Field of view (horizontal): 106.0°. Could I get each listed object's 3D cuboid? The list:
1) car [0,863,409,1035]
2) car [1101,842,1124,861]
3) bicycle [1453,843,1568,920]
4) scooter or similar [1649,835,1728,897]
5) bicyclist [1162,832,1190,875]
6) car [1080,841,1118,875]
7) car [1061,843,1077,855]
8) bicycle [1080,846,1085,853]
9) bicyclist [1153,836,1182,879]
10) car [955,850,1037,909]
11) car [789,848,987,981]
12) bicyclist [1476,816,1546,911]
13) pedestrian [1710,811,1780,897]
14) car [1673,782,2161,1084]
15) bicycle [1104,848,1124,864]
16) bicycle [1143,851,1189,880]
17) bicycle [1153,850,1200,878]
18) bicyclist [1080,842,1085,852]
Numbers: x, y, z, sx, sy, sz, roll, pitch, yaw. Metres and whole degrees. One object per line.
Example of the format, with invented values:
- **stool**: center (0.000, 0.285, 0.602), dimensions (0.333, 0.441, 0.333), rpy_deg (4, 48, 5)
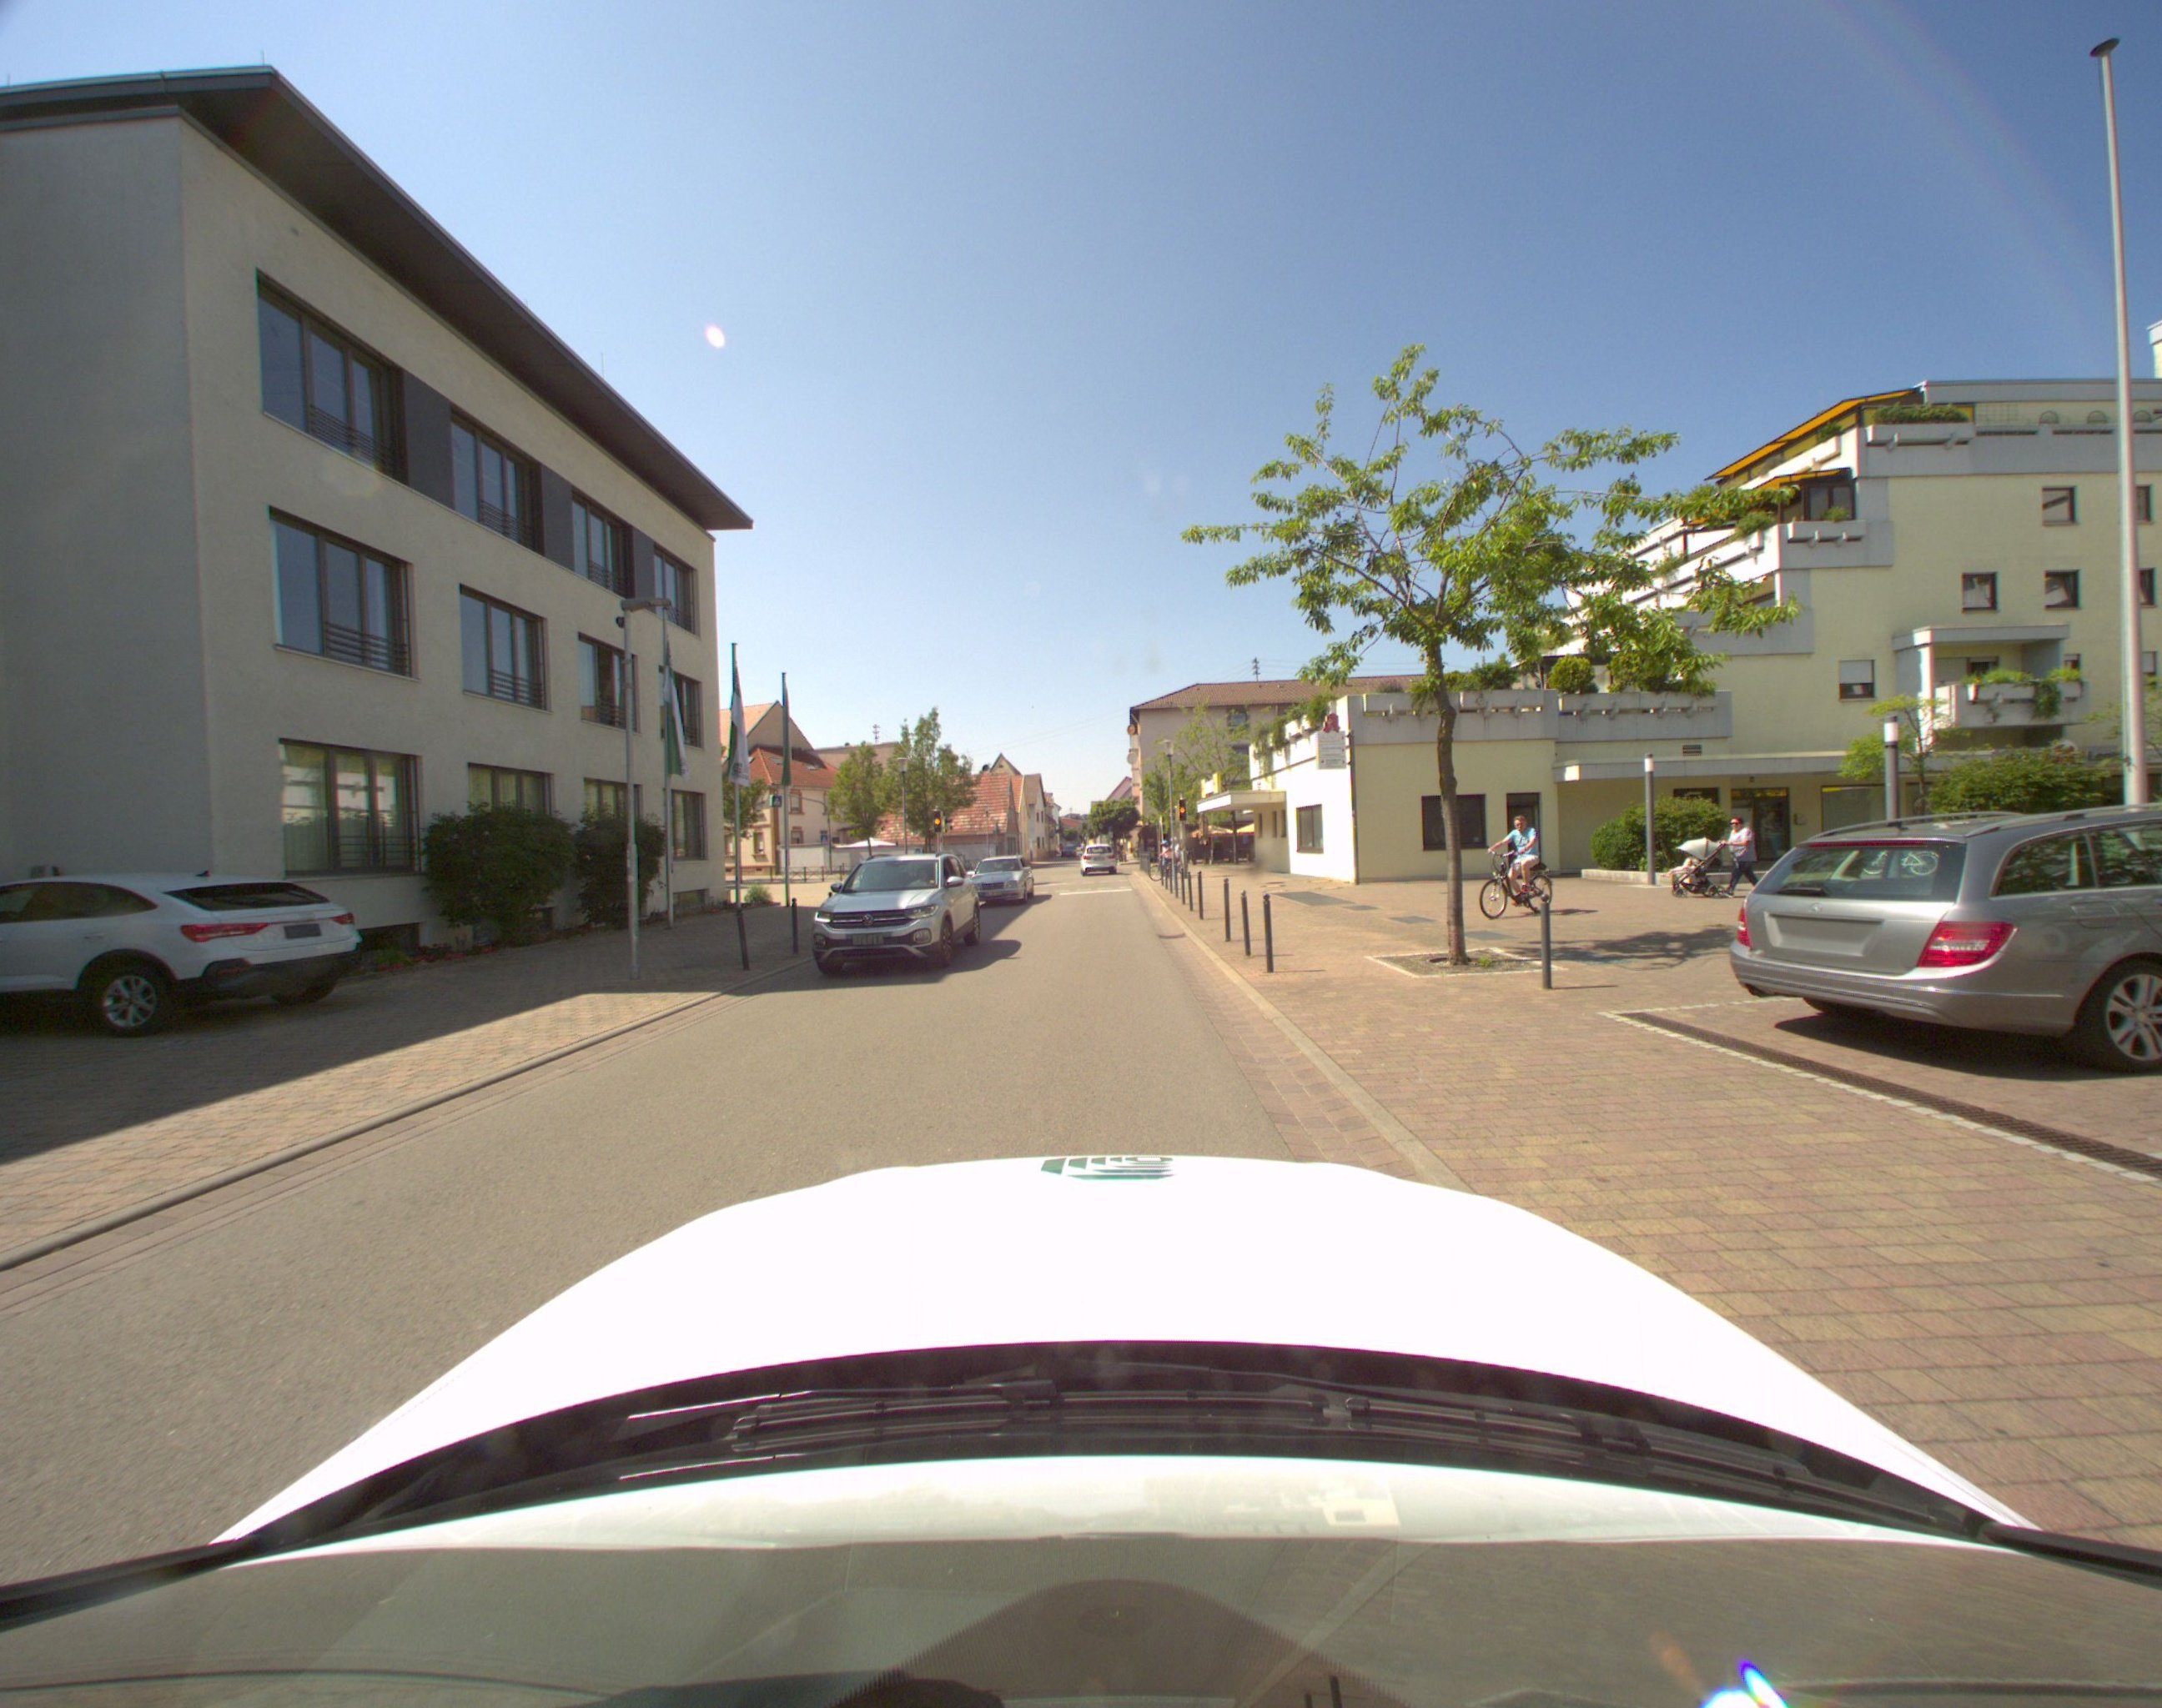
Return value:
- **car**: center (-10.469, 0.945, 8.837), dimensions (4.492, 1.554, 2.148), rpy_deg (-1, 0, 0)
- **car**: center (2.787, -0.262, 71.639), dimensions (1.797, 1.501, 4.005), rpy_deg (-2, 1, 4)
- **bicycle**: center (7.259, 0.439, 13.743), dimensions (1.899, 1.109, 0.670), rpy_deg (-5, 1, -25)
- **scooter or similar**: center (11.406, 0.222, 15.313), dimensions (1.031, 1.106, 0.631), rpy_deg (-2, 1, 21)
- **bicyclist**: center (3.827, -0.016, 32.781), dimensions (0.765, 1.664, 0.663), rpy_deg (-5, 1, -38)
- **car**: center (0.917, 0.195, 43.050), dimensions (1.828, 1.652, 4.000), rpy_deg (-3, 1, 0)
- **car**: center (-1.485, -0.639, 102.678), dimensions (1.706, 1.517, 3.790), rpy_deg (-2, 1, 4)
- **bicycle**: center (0.241, -0.716, 129.975), dimensions (0.661, 1.006, 1.900), rpy_deg (-3, 1, 5)
- **bicyclist**: center (3.305, 0.142, 31.179), dimensions (0.662, 1.581, 0.766), rpy_deg (-3, 2, 43)
- **car**: center (-2.518, 0.709, 25.222), dimensions (1.874, 1.464, 4.438), rpy_deg (-4, 1, 1)
- **car**: center (-2.665, 0.744, 12.258), dimensions (1.844, 1.573, 4.002), rpy_deg (-2, 1, 2)
- **bicyclist**: center (7.253, 0.151, 13.747), dimensions (0.763, 1.526, 0.665), rpy_deg (-4, 1, -25)
- **pedestrian**: center (12.204, -0.004, 14.981), dimensions (0.792, 1.521, 0.710), rpy_deg (-1, 1, 20)
- **car**: center (6.949, 0.313, 5.521), dimensions (4.568, 1.512, 1.913), rpy_deg (-4, 0, -5)
- **bicycle**: center (2.569, 0.158, 63.019), dimensions (0.530, 1.193, 1.655), rpy_deg (-3, 1, -41)
- **bicycle**: center (3.262, 0.435, 31.129), dimensions (0.667, 0.957, 1.908), rpy_deg (-3, 2, 41)
- **bicycle**: center (3.855, 0.394, 32.789), dimensions (1.906, 0.958, 0.668), rpy_deg (-5, 1, -39)
- **bicyclist**: center (0.245, -1.143, 130.048), dimensions (0.670, 1.482, 0.771), rpy_deg (-3, 0, 4)
